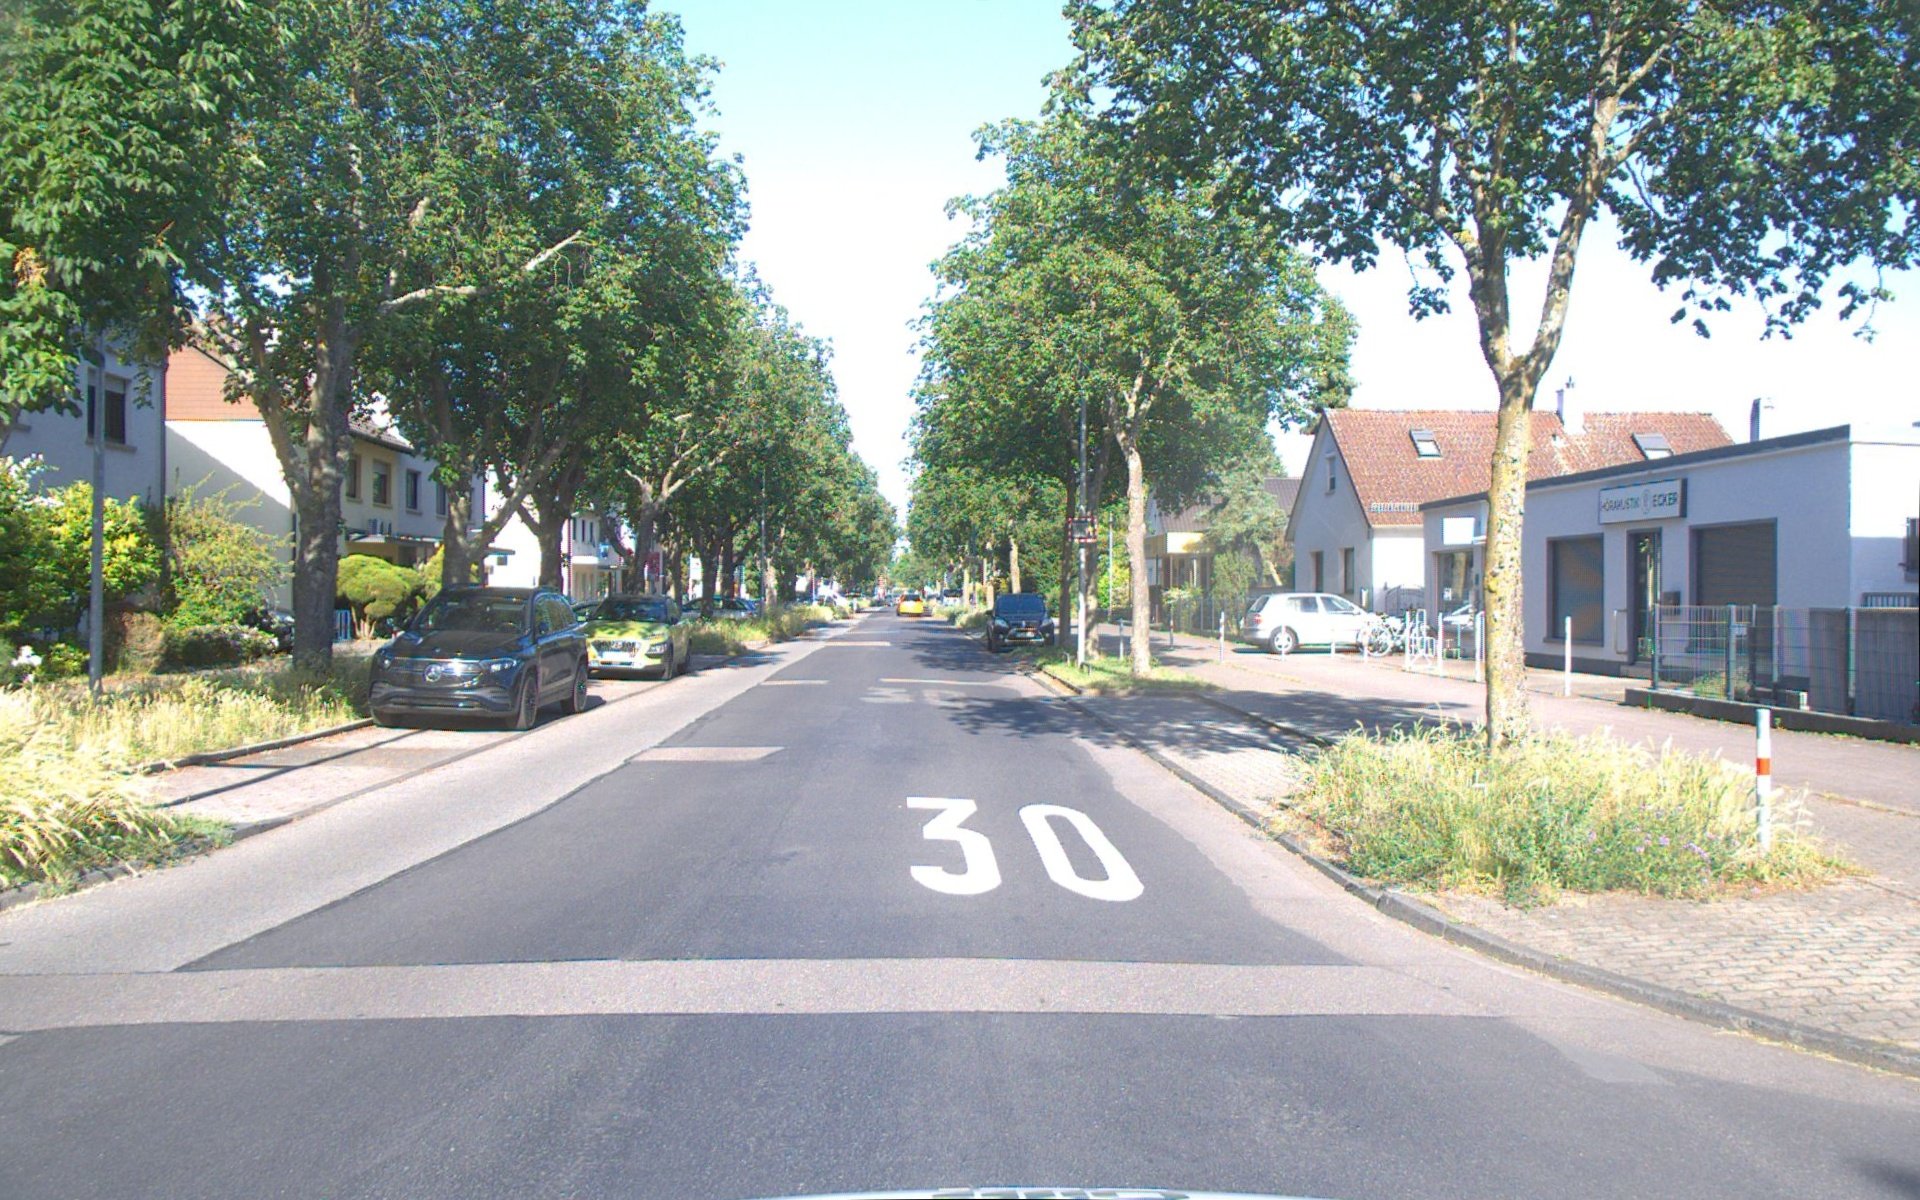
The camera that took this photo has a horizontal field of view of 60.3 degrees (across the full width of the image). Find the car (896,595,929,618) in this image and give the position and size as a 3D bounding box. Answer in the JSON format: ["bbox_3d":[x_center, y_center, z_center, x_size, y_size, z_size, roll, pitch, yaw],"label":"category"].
[{"bbox_3d":[-3.390,0.481,117.143,1.853,1.504,3.880,2,0,-9],"label":"car"}]

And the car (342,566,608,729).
[{"bbox_3d":[-5.887,0.551,20.747,1.914,1.757,4.874,2,-1,-1],"label":"car"}]

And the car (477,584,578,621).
[{"bbox_3d":[-21.193,0.124,81.155,4.466,1.646,1.998,1,2,-6],"label":"car"}]

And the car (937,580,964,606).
[{"bbox_3d":[-0.699,-0.488,121.673,1.864,1.805,4.300,2,0,-1],"label":"car"}]

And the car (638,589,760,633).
[{"bbox_3d":[-10.205,0.432,64.877,4.463,1.537,1.841,2,2,-2],"label":"car"}]

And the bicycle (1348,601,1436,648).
[{"bbox_3d":[10.104,0.573,38.691,1.885,1.016,0.576,-1,2,-4],"label":"bicycle"}]

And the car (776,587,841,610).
[{"bbox_3d":[-9.988,-0.076,109.050,4.205,1.338,1.907,1,2,-7],"label":"car"}]

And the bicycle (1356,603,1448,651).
[{"bbox_3d":[10.071,0.606,37.701,1.919,1.016,0.576,-1,2,-4],"label":"bicycle"}]

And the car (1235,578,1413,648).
[{"bbox_3d":[8.923,0.303,40.759,3.908,1.514,1.901,-2,2,-3],"label":"car"}]

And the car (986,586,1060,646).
[{"bbox_3d":[1.795,0.461,48.695,1.816,1.654,4.467,-1,0,-2],"label":"car"}]

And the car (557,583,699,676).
[{"bbox_3d":[-6.380,0.557,32.284,1.899,1.637,4.382,2,-1,-1],"label":"car"}]

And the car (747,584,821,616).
[{"bbox_3d":[-10.872,0.015,102.314,4.459,1.796,1.998,1,2,-7],"label":"car"}]

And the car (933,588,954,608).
[{"bbox_3d":[-1.598,-0.211,159.776,1.864,1.805,4.300,2,0,-1],"label":"car"}]

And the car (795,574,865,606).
[{"bbox_3d":[-10.187,-0.803,130.334,5.389,2.286,2.515,2,2,-4],"label":"car"}]
